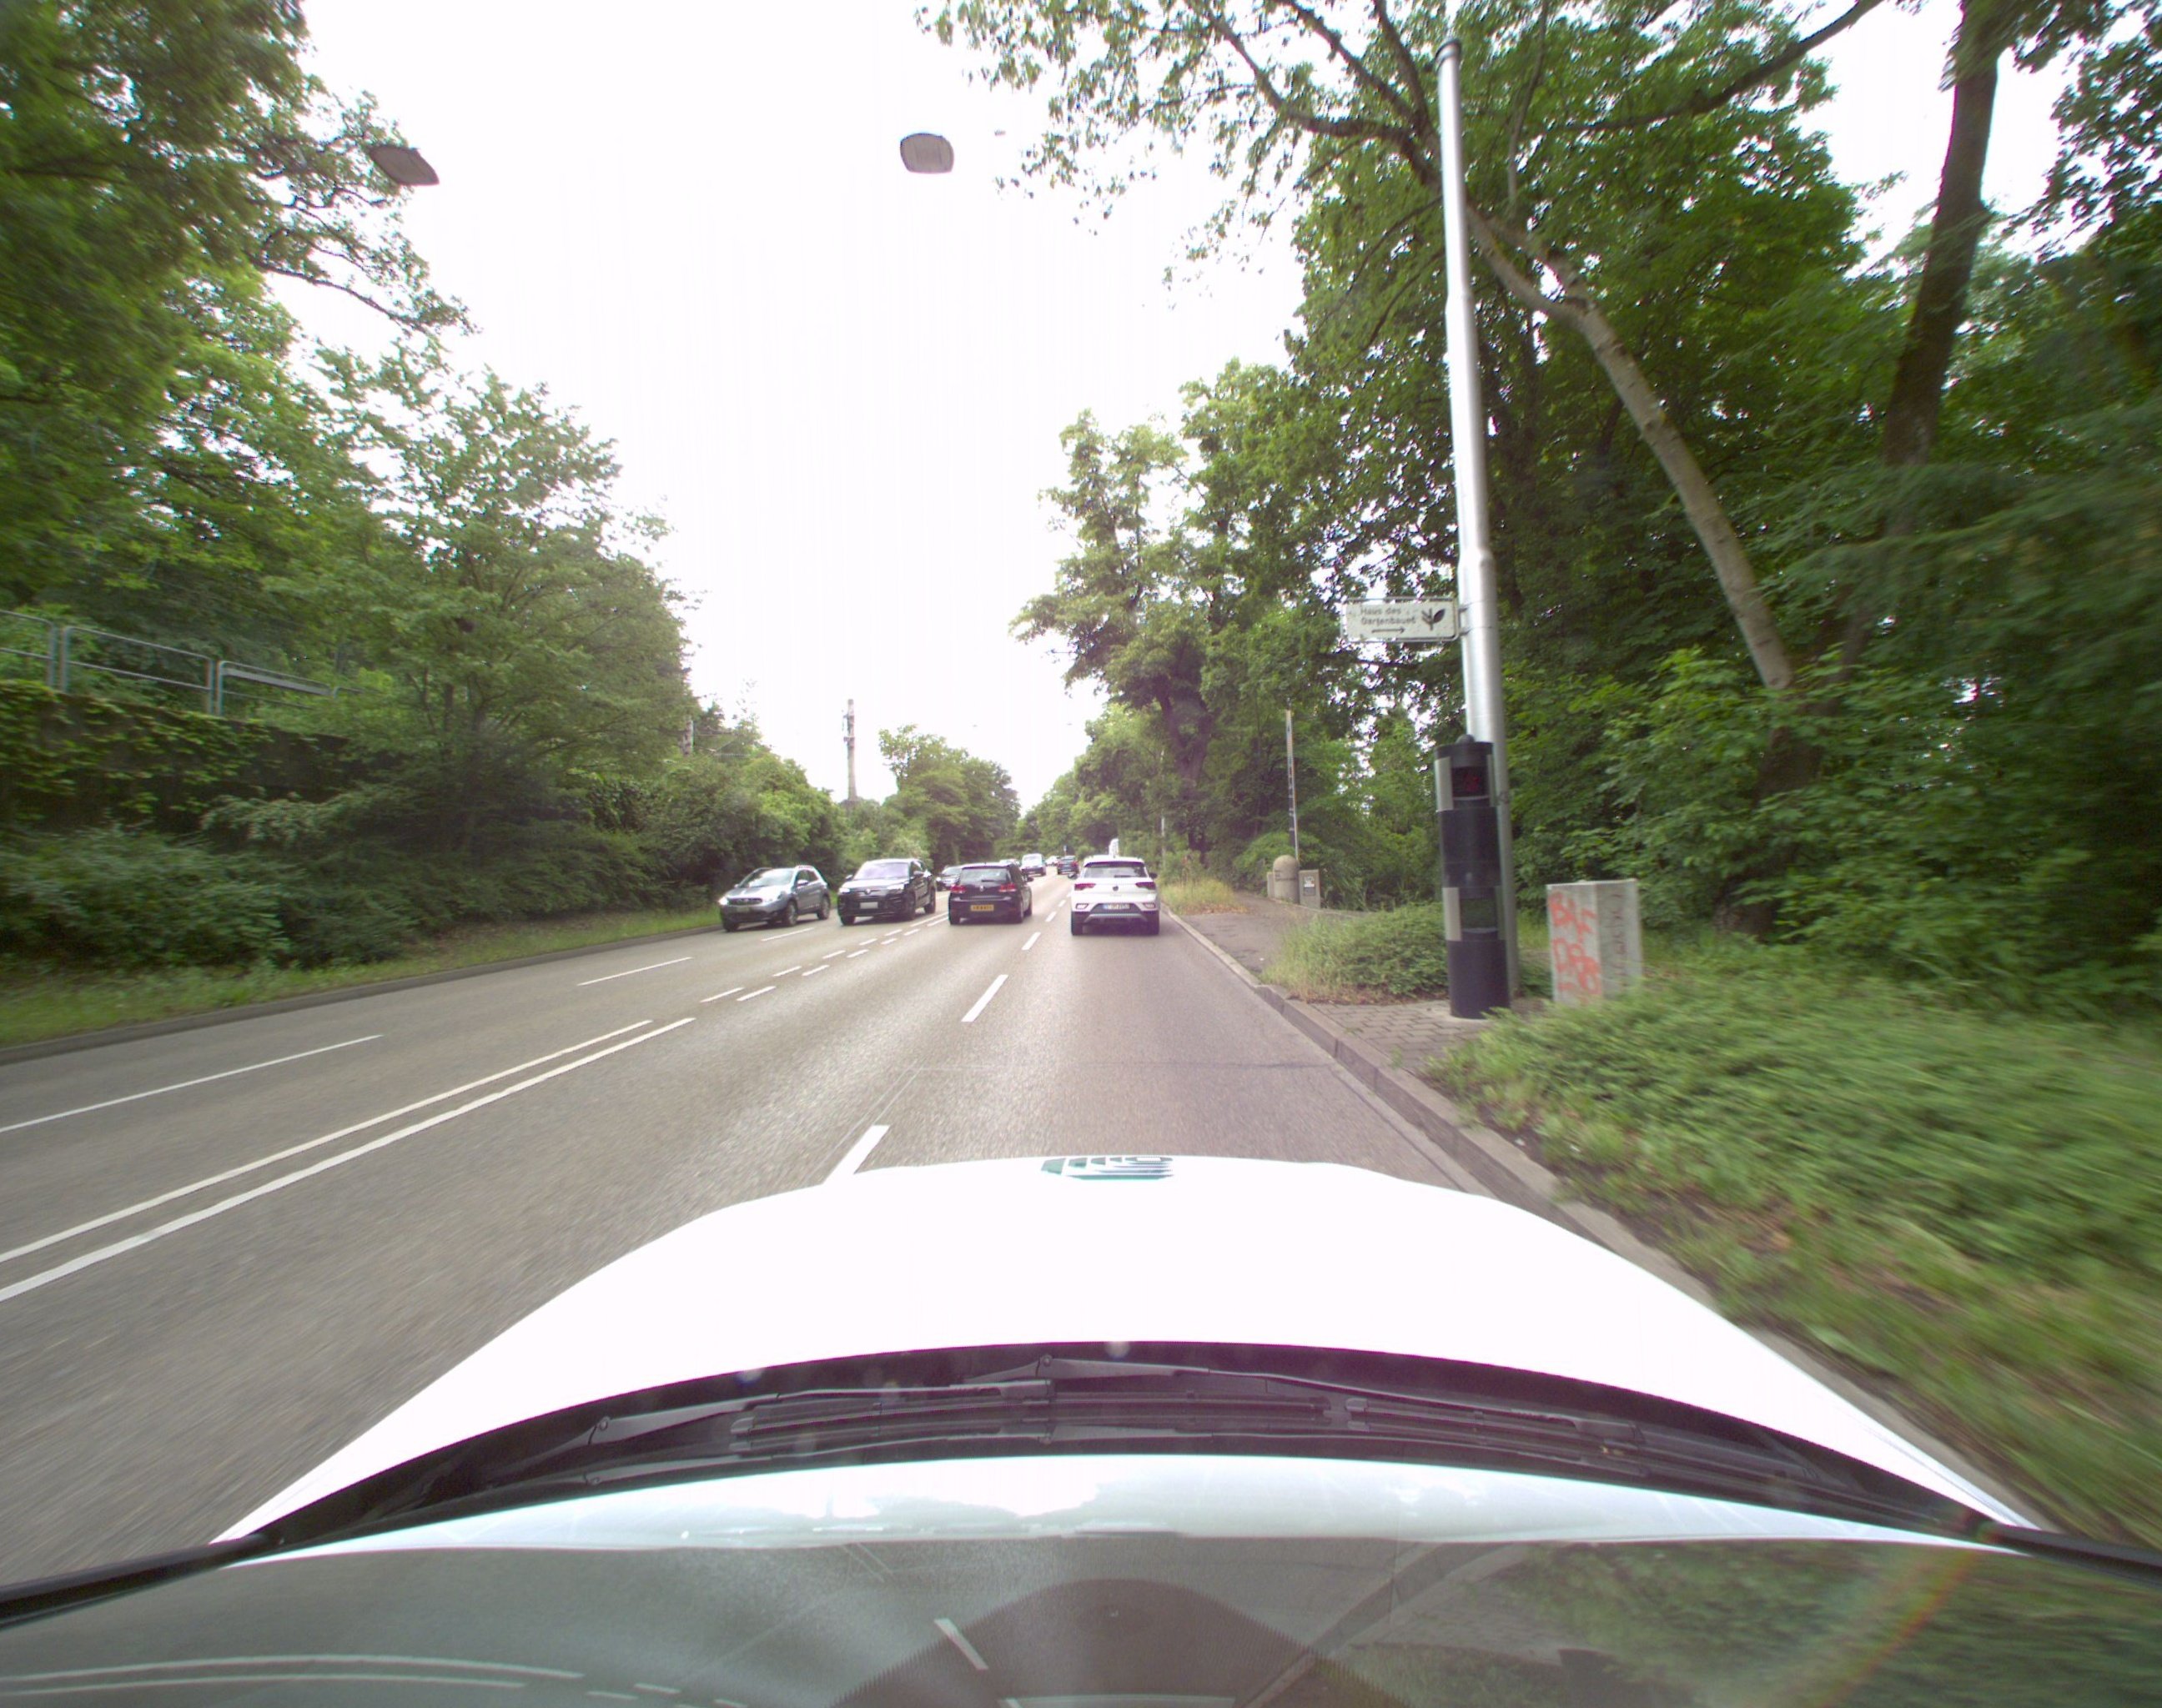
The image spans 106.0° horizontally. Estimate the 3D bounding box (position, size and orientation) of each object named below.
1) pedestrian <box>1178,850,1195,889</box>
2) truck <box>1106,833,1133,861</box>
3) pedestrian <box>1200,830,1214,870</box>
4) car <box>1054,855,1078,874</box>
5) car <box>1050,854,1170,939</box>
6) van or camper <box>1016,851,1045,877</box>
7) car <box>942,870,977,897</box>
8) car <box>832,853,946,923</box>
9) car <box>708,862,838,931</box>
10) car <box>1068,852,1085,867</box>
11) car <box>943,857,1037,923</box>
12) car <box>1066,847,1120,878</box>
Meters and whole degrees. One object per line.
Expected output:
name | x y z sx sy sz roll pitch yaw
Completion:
pedestrian | 4.609 0.669 35.619 0.607 1.698 0.548 0 -1 -2
truck | 4.597 -0.780 98.940 2.477 3.182 7.218 0 -1 -4
pedestrian | 5.566 -0.169 35.955 0.518 1.753 0.524 0 -1 -2
car | -1.337 0.928 72.784 1.986 1.592 4.001 0 0 1
car | 0.486 0.814 17.441 1.998 1.596 3.991 0 -1 -7
van or camper | -4.462 0.888 71.731 1.993 2.013 5.352 -5 -1 -8
car | -7.511 1.803 50.619 1.469 1.596 4.001 0 -1 2
car | -5.158 0.864 22.553 1.803 1.662 4.832 -3 -1 2
car | -8.310 1.076 22.407 1.784 1.611 4.191 -3 -1 2
car | -0.473 0.630 91.692 1.815 1.623 4.001 0 -1 1
car | -2.197 0.843 20.688 1.944 1.466 3.998 1 0 -1
car | 0.674 0.506 49.521 1.858 1.702 3.972 -4 1 -20
